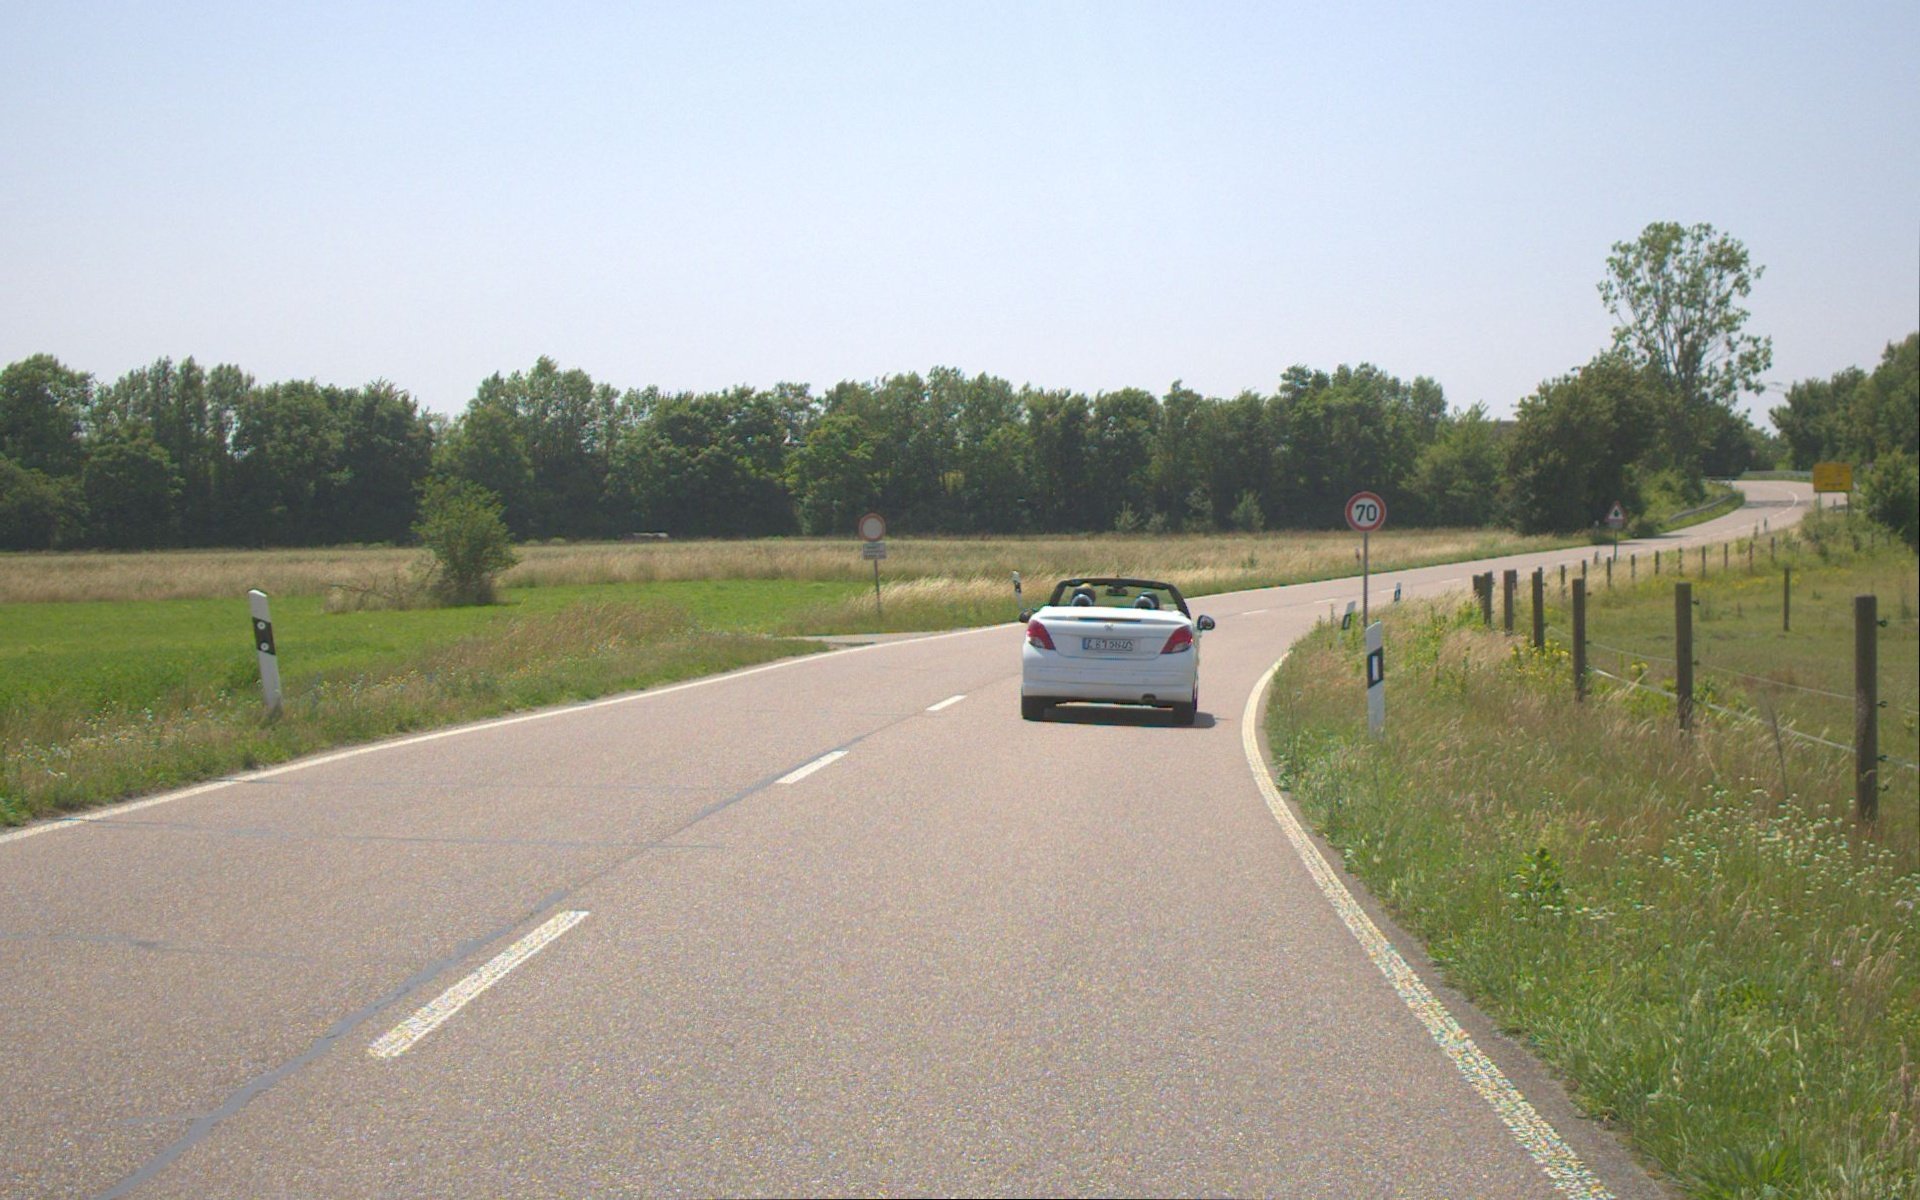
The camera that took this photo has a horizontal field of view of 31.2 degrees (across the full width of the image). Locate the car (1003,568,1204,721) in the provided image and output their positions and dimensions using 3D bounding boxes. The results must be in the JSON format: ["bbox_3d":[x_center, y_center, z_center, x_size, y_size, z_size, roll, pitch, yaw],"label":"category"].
[{"bbox_3d":[1.465,0.399,34.416,1.851,1.374,4.000,2,1,3],"label":"car"}]
